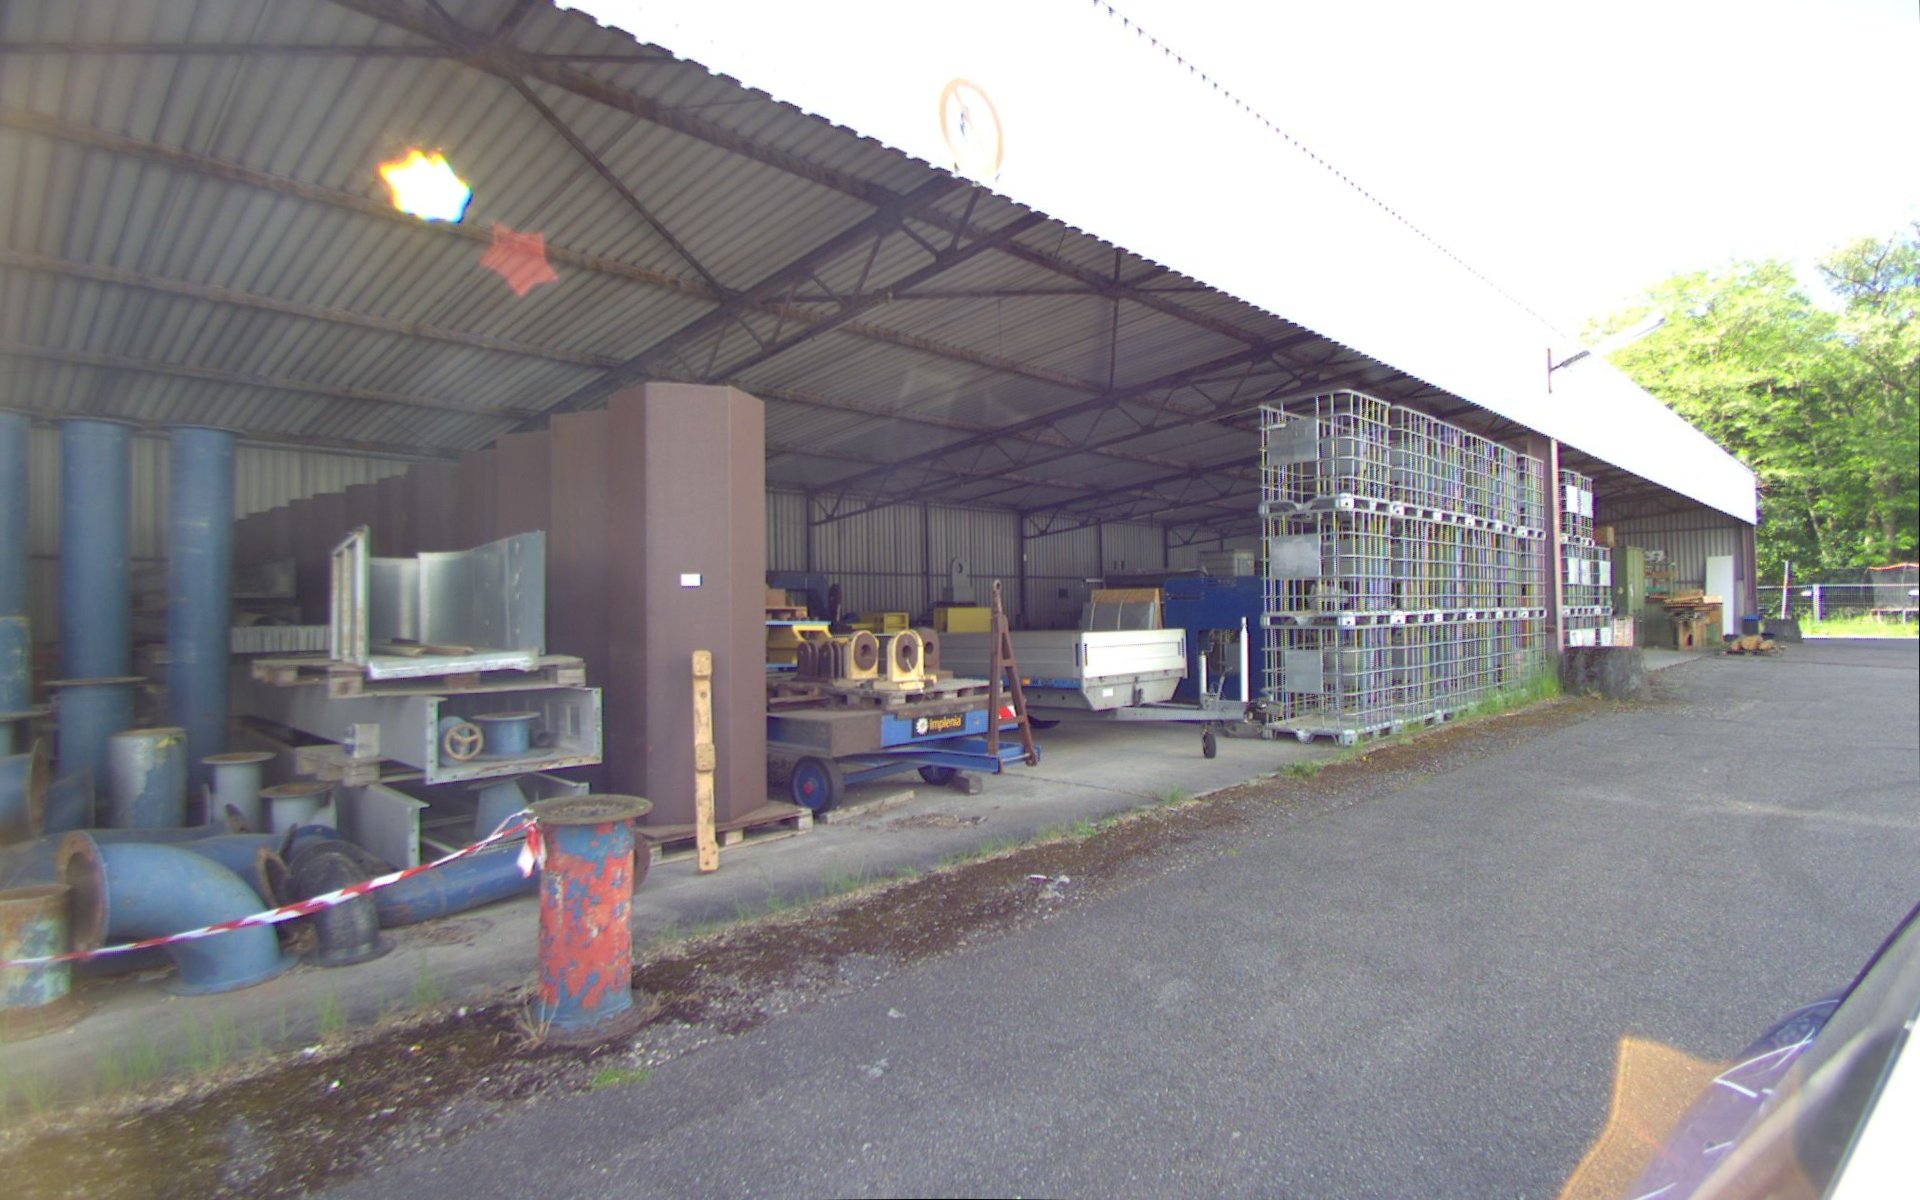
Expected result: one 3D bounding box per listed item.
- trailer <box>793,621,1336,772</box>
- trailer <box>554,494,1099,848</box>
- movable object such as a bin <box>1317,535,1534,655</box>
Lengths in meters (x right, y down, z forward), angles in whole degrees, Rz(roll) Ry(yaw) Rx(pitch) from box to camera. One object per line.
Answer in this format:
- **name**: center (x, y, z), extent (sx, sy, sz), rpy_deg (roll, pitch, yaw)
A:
- **trailer**: center (0.772, 0.823, 10.730), extent (5.732, 1.147, 1.978), rpy_deg (-1, -1, 43)
- **trailer**: center (-1.385, 0.388, 8.252), extent (2.012, 2.022, 4.823), rpy_deg (-1, 0, -43)
- **movable object such as a bin**: center (11.600, -0.104, 25.407), extent (4.613, 2.757, 1.969), rpy_deg (0, -1, 43)
